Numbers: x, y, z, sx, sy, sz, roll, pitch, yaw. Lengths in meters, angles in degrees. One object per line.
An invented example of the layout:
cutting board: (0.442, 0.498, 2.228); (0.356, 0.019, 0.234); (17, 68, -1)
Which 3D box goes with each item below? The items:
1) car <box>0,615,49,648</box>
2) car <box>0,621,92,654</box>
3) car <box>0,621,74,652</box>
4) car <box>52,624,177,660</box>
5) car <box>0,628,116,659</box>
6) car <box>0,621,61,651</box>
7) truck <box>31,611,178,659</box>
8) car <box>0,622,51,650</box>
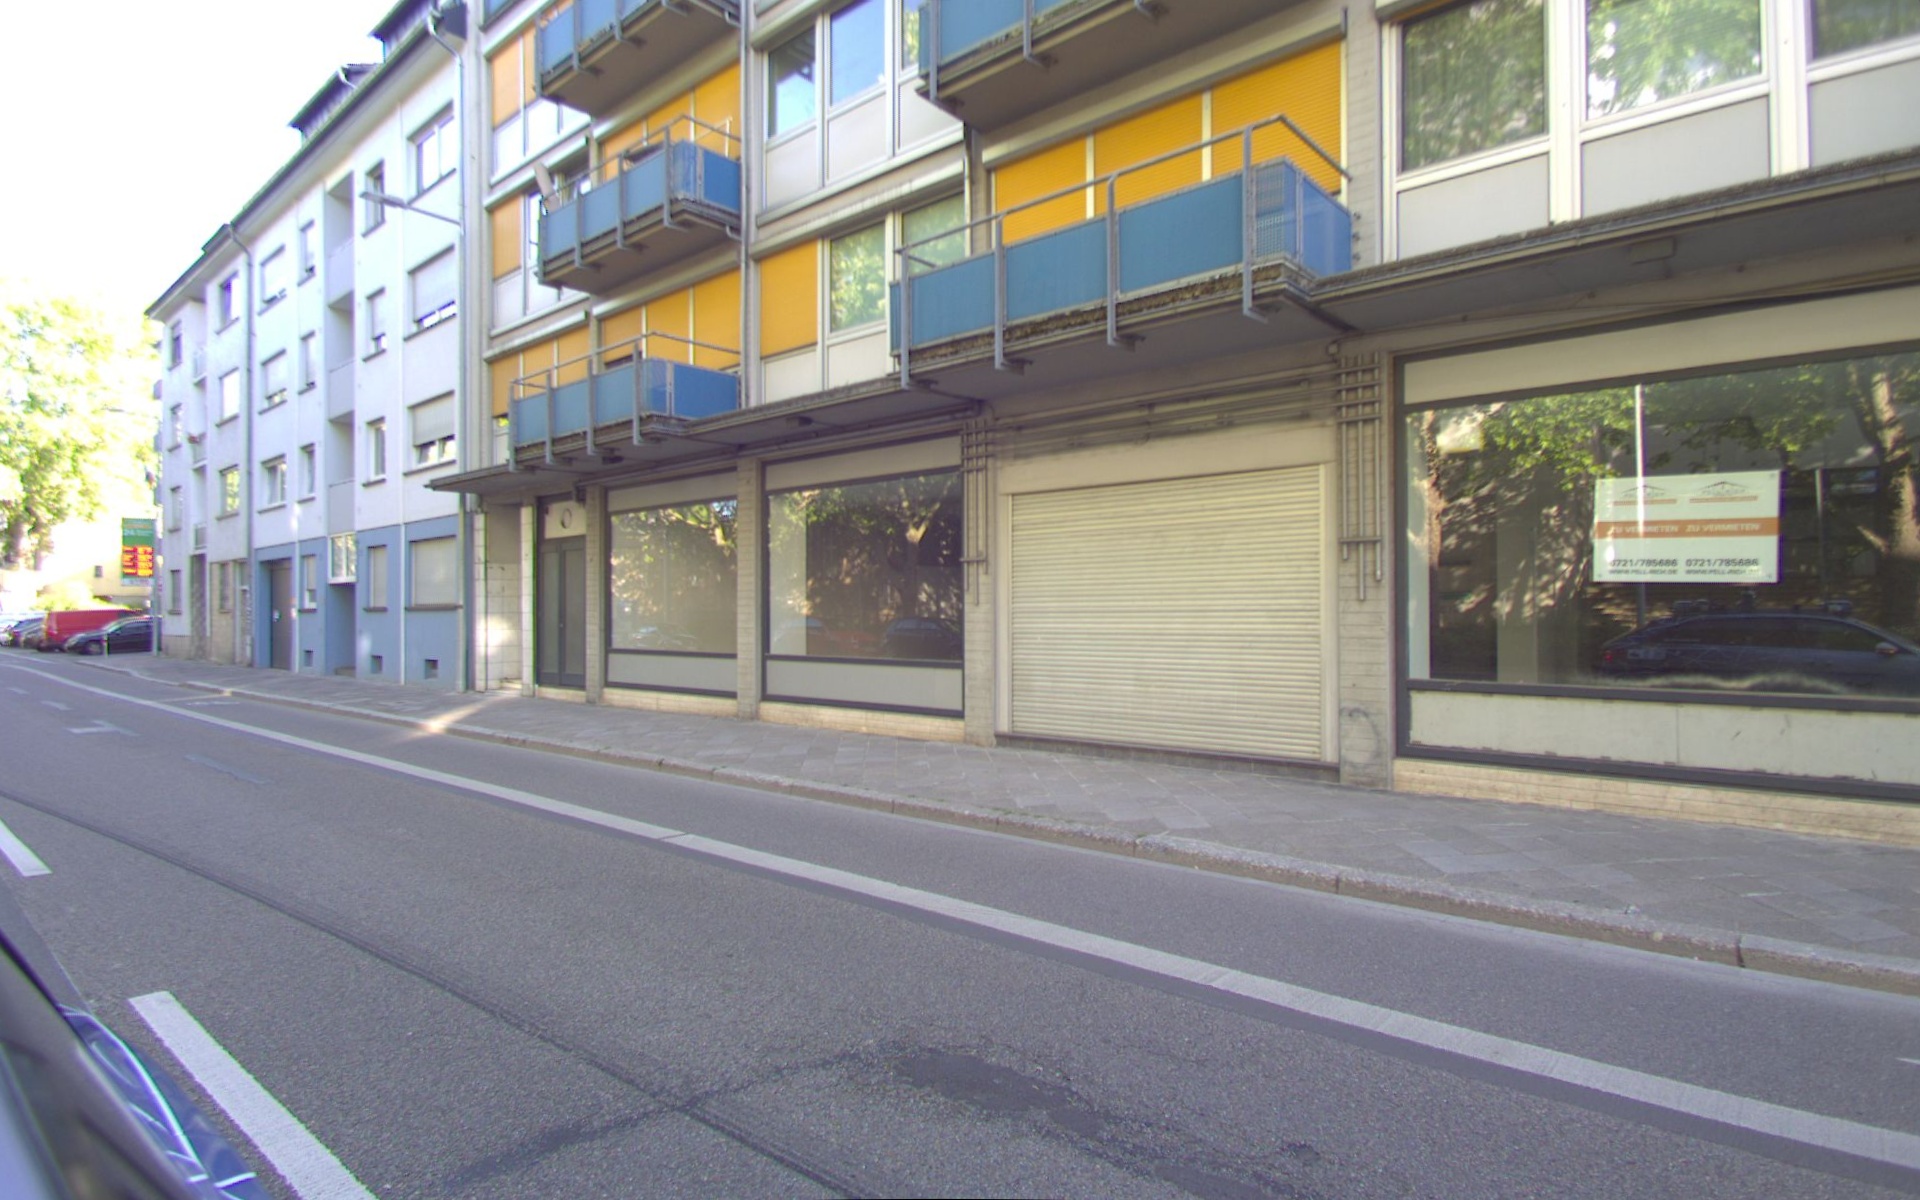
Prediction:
car: (-59.748, 1.978, 63.828); (1.693, 1.953, 3.224); (-1, 0, 43)
car: (-50.811, 2.031, 55.961); (1.699, 1.640, 3.952); (-1, 0, 35)
car: (-52.872, 2.046, 57.465); (1.656, 1.599, 3.615); (-1, 0, 35)
car: (-36.709, 1.787, 44.015); (1.780, 1.404, 3.947); (-1, 0, 39)
car: (-43.256, 2.060, 48.556); (1.904, 1.282, 3.983); (-1, 0, 39)
car: (-55.056, 2.091, 58.994); (1.715, 1.594, 3.660); (-1, 0, 35)
truck: (-40.339, 1.592, 47.829); (1.998, 2.036, 5.024); (-1, 0, 40)
car: (-56.876, 2.132, 60.386); (1.740, 1.600, 3.685); (-1, 0, 35)
